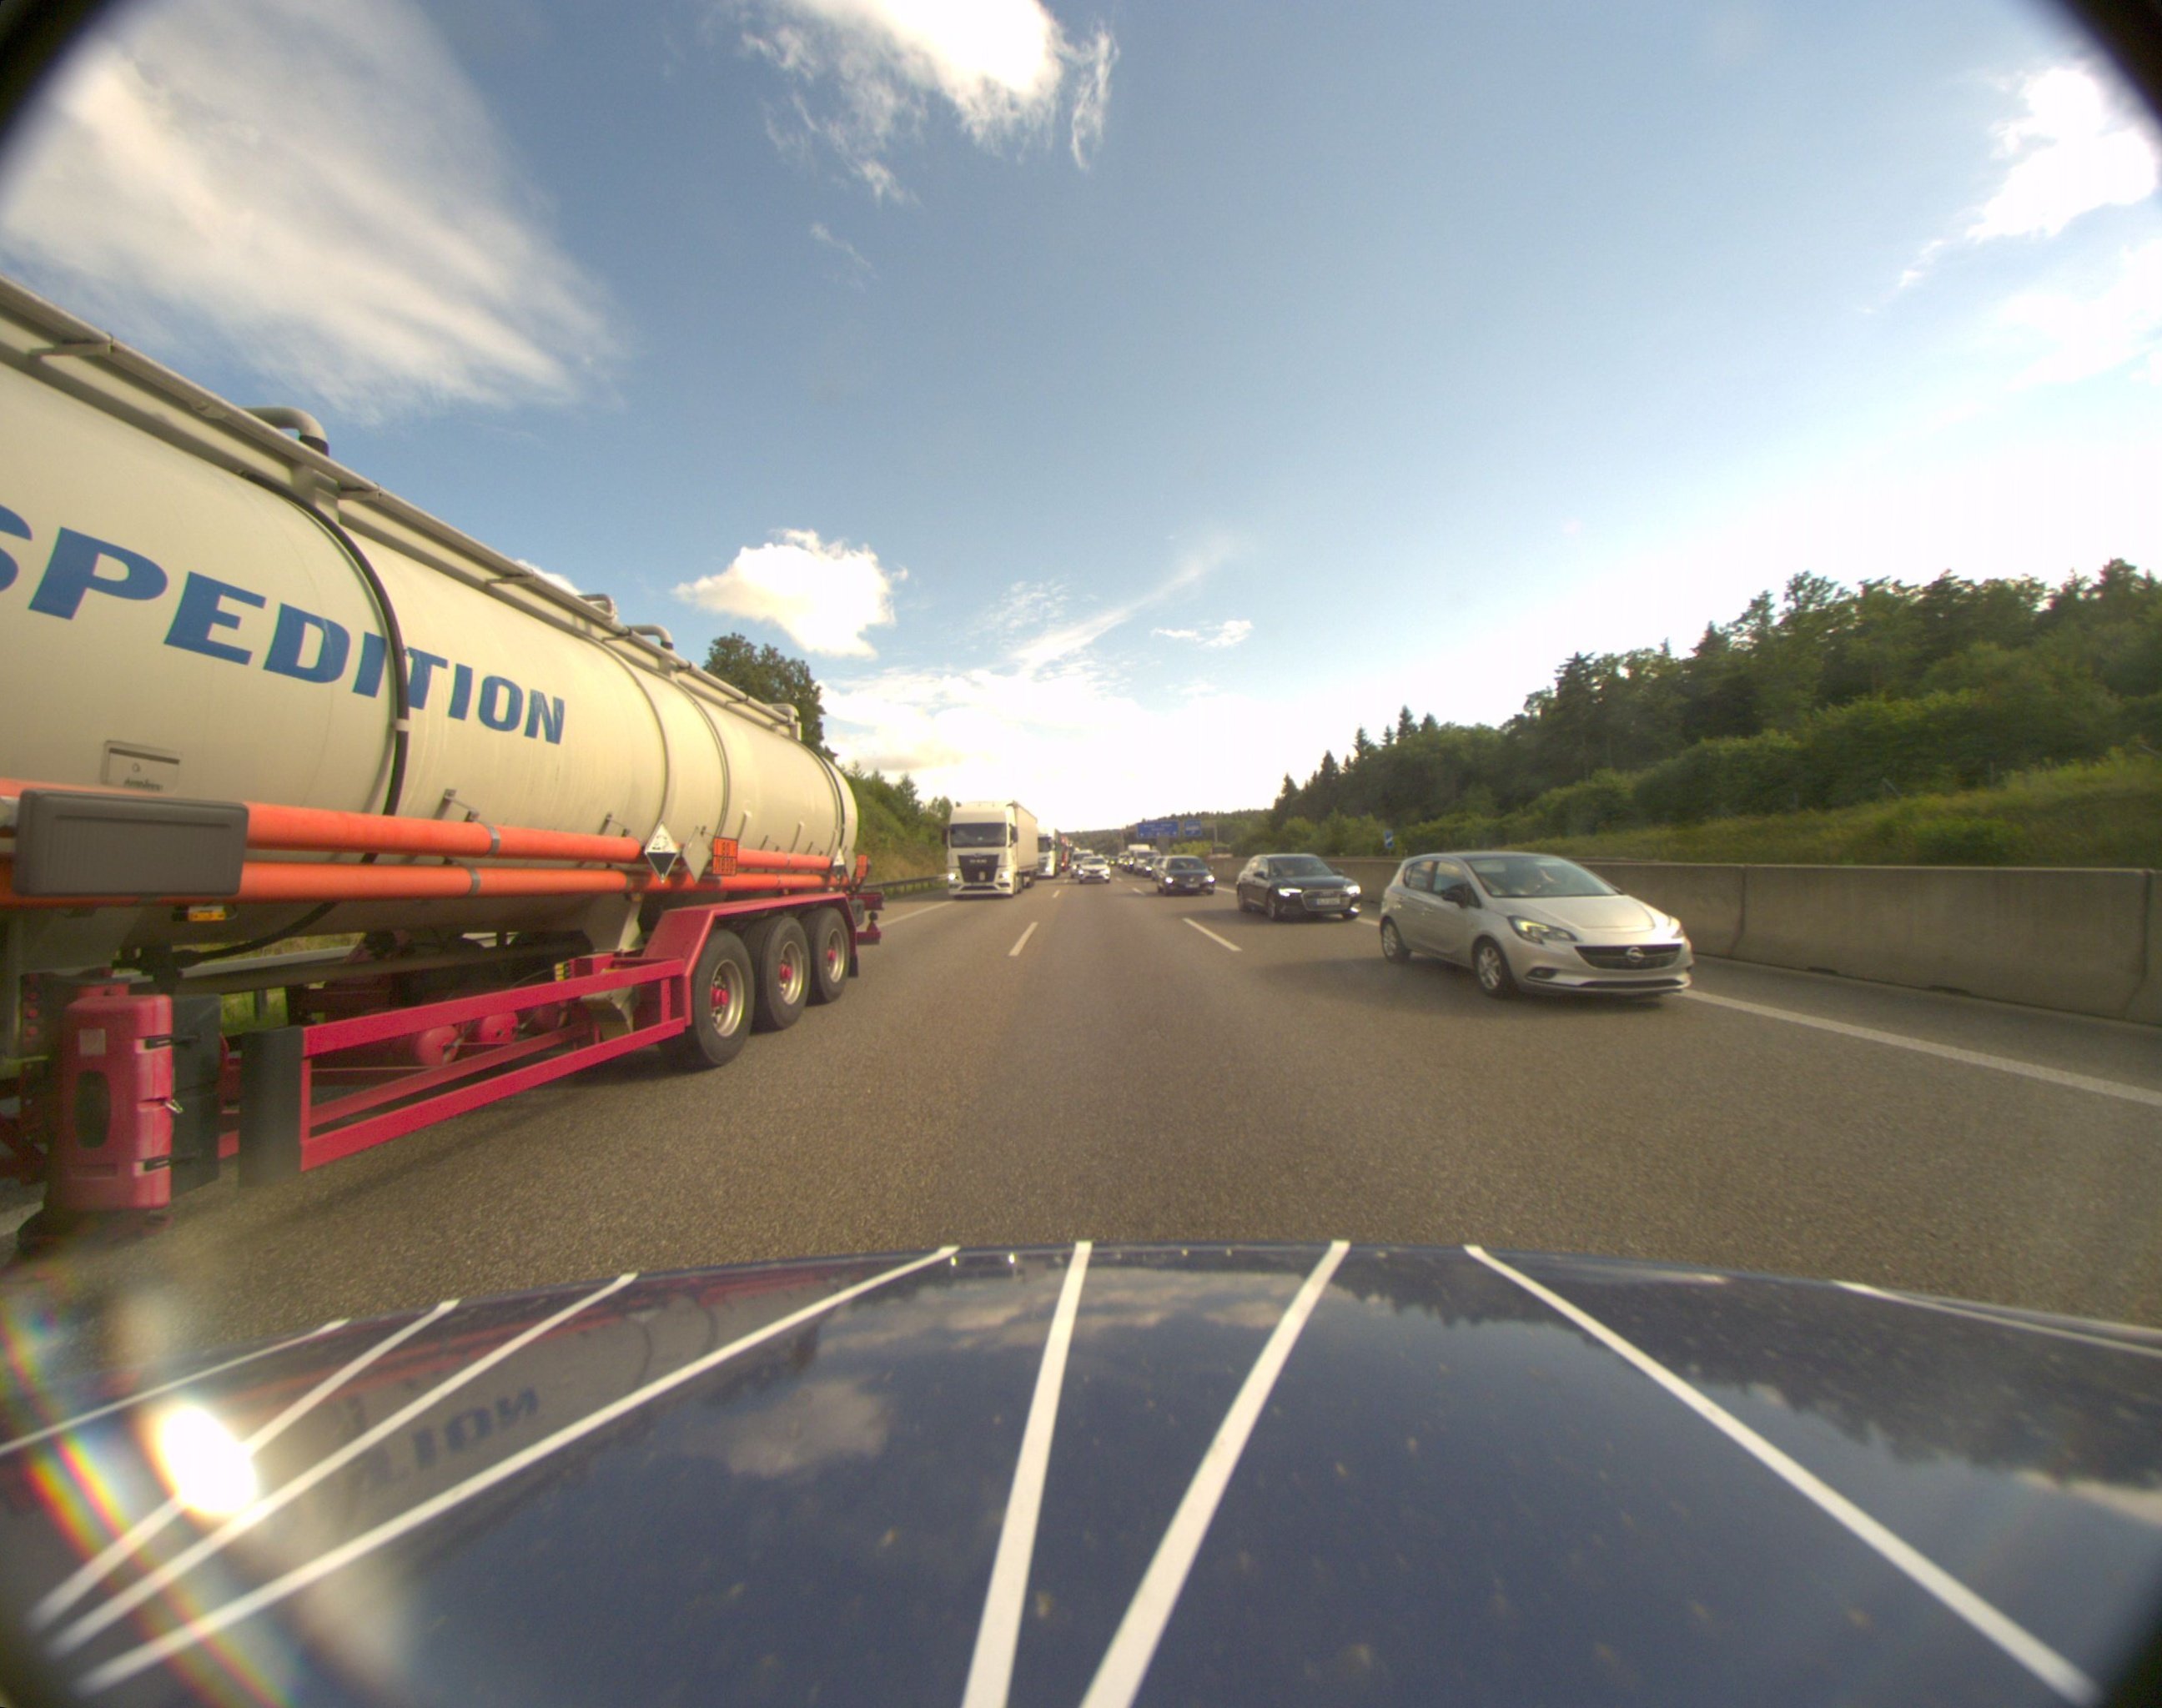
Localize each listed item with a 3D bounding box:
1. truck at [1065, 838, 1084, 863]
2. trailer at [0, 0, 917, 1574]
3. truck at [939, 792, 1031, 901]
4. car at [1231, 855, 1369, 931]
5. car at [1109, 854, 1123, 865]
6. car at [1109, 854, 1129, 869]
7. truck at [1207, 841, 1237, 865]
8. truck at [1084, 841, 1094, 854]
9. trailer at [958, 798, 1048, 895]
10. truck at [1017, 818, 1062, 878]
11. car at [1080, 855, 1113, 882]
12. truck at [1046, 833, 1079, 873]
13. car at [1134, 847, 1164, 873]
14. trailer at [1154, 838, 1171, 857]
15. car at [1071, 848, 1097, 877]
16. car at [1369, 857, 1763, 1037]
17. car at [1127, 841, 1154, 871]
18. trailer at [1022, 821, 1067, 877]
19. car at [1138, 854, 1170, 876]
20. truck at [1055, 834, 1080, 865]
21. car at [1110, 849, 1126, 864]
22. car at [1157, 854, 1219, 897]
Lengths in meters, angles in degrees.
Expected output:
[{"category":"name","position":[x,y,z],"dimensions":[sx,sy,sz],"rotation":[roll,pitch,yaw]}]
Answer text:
[{"category":"truck","position":[-1.132,-0.676,139.948],"dimensions":[2.840,4.178,12.045],"rotation":[-2,1,2]},{"category":"trailer","position":[-3.924,-0.283,5.213],"dimensions":[2.805,4.003,11.182],"rotation":[-2,0,1]},{"category":"truck","position":[-3.829,-0.299,31.653],"dimensions":[2.841,4.048,5.707],"rotation":[-2,0,1]},{"category":"car","position":[4.928,0.795,17.843],"dimensions":[1.887,1.463,4.852],"rotation":[-2,0,1]},{"category":"car","position":[5.395,0.799,116.818],"dimensions":[1.920,1.535,3.811],"rotation":[-2,0,1]},{"category":"car","position":[3.766,0.731,75.587],"dimensions":[1.809,1.423,3.660],"rotation":[-2,0,1]},{"category":"truck","position":[17.574,-0.120,95.173],"dimensions":[2.429,2.838,6.430],"rotation":[-2,0,0]},{"category":"truck","position":[2.776,-2.144,254.184],"dimensions":[2.840,4.178,12.045],"rotation":[-2,1,2]},{"category":"trailer","position":[-3.641,-0.358,39.252],"dimensions":[2.833,4.047,13.372],"rotation":[-2,0,1]},{"category":"truck","position":[-3.059,-0.418,57.255],"dimensions":[2.841,4.177,5.707],"rotation":[-2,0,1]},{"category":"car","position":[0.917,0.831,45.075],"dimensions":[1.809,1.487,4.666],"rotation":[-1,0,1]},{"category":"truck","position":[-2.018,-0.206,87.137],"dimensions":[2.840,4.178,12.045],"rotation":[-2,1,2]},{"category":"car","position":[5.325,0.440,60.026],"dimensions":[1.947,1.953,4.848],"rotation":[-2,0,1]},{"category":"trailer","position":[22.578,-1.807,211.782],"dimensions":[2.934,4.802,14.651],"rotation":[-2,1,0]},{"category":"car","position":[0.228,0.615,57.841],"dimensions":[1.809,2.052,4.770],"rotation":[-2,0,1]},{"category":"car","position":[4.815,0.785,8.362],"dimensions":[1.751,1.457,4.041],"rotation":[-1,0,0]},{"category":"car","position":[5.292,0.160,68.500],"dimensions":[2.054,2.557,5.861],"rotation":[-1,0,1]},{"category":"trailer","position":[-2.917,-0.431,64.811],"dimensions":[2.841,4.177,13.613],"rotation":[-2,0,1]},{"category":"car","position":[5.085,0.744,53.276],"dimensions":[1.809,1.423,3.994],"rotation":[-2,0,1]},{"category":"truck","position":[-1.864,-0.711,111.624],"dimensions":[2.840,4.178,12.045],"rotation":[-2,1,2]},{"category":"car","position":[4.875,0.338,99.594],"dimensions":[1.920,1.785,3.811],"rotation":[-2,0,1]},{"category":"car","position":[4.058,0.760,29.380],"dimensions":[1.915,1.469,4.569],"rotation":[-2,0,3]}]
